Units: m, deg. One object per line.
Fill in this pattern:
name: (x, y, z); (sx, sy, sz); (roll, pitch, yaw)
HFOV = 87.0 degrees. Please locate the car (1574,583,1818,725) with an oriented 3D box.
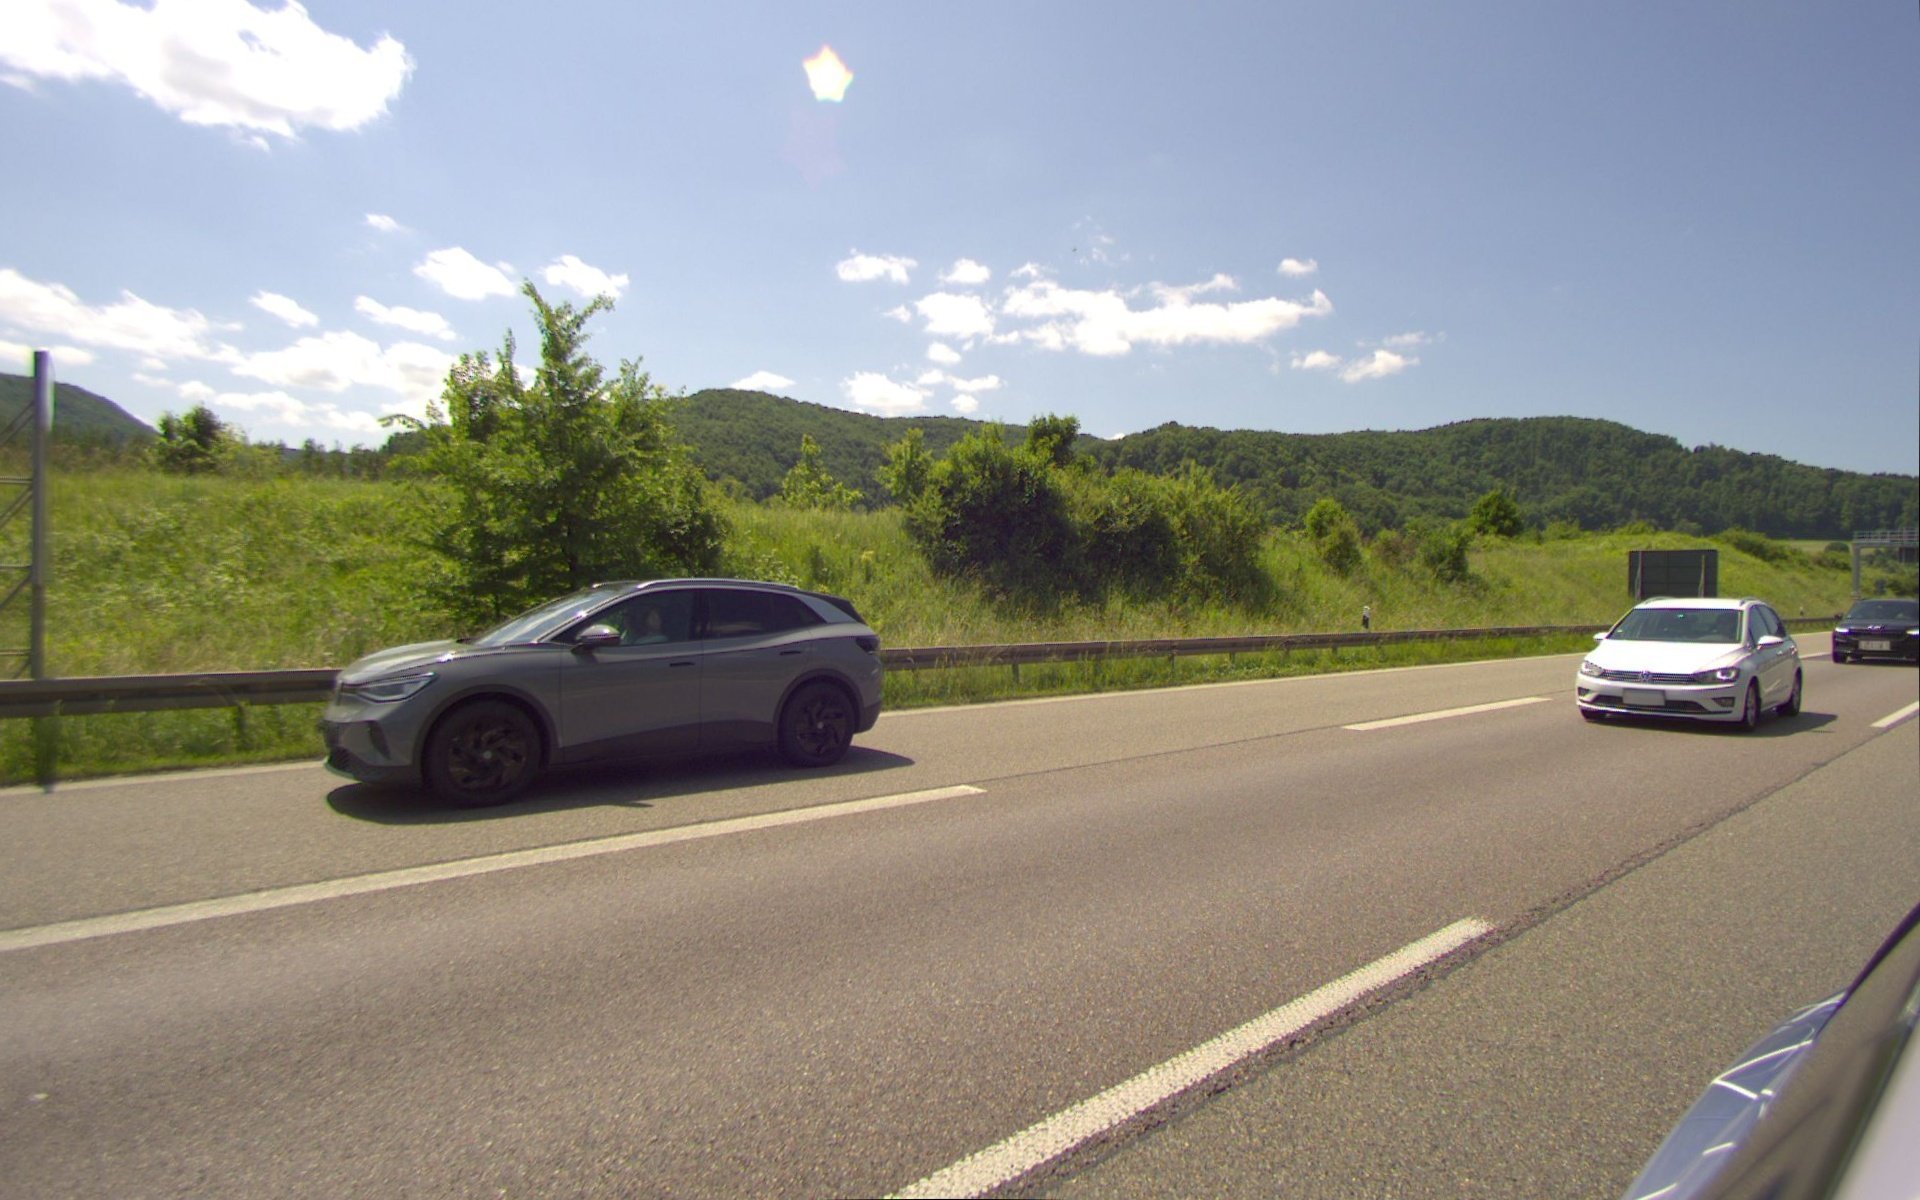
car: (9.589, 0.579, 13.074); (3.984, 1.560, 1.775); (0, 0, -42)

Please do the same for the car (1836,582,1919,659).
car: (23.918, 0.485, 25.665); (4.096, 1.794, 1.893); (0, 1, -40)

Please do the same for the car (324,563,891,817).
car: (-2.728, 0.560, 8.457); (4.176, 1.615, 1.681); (0, 0, -42)
